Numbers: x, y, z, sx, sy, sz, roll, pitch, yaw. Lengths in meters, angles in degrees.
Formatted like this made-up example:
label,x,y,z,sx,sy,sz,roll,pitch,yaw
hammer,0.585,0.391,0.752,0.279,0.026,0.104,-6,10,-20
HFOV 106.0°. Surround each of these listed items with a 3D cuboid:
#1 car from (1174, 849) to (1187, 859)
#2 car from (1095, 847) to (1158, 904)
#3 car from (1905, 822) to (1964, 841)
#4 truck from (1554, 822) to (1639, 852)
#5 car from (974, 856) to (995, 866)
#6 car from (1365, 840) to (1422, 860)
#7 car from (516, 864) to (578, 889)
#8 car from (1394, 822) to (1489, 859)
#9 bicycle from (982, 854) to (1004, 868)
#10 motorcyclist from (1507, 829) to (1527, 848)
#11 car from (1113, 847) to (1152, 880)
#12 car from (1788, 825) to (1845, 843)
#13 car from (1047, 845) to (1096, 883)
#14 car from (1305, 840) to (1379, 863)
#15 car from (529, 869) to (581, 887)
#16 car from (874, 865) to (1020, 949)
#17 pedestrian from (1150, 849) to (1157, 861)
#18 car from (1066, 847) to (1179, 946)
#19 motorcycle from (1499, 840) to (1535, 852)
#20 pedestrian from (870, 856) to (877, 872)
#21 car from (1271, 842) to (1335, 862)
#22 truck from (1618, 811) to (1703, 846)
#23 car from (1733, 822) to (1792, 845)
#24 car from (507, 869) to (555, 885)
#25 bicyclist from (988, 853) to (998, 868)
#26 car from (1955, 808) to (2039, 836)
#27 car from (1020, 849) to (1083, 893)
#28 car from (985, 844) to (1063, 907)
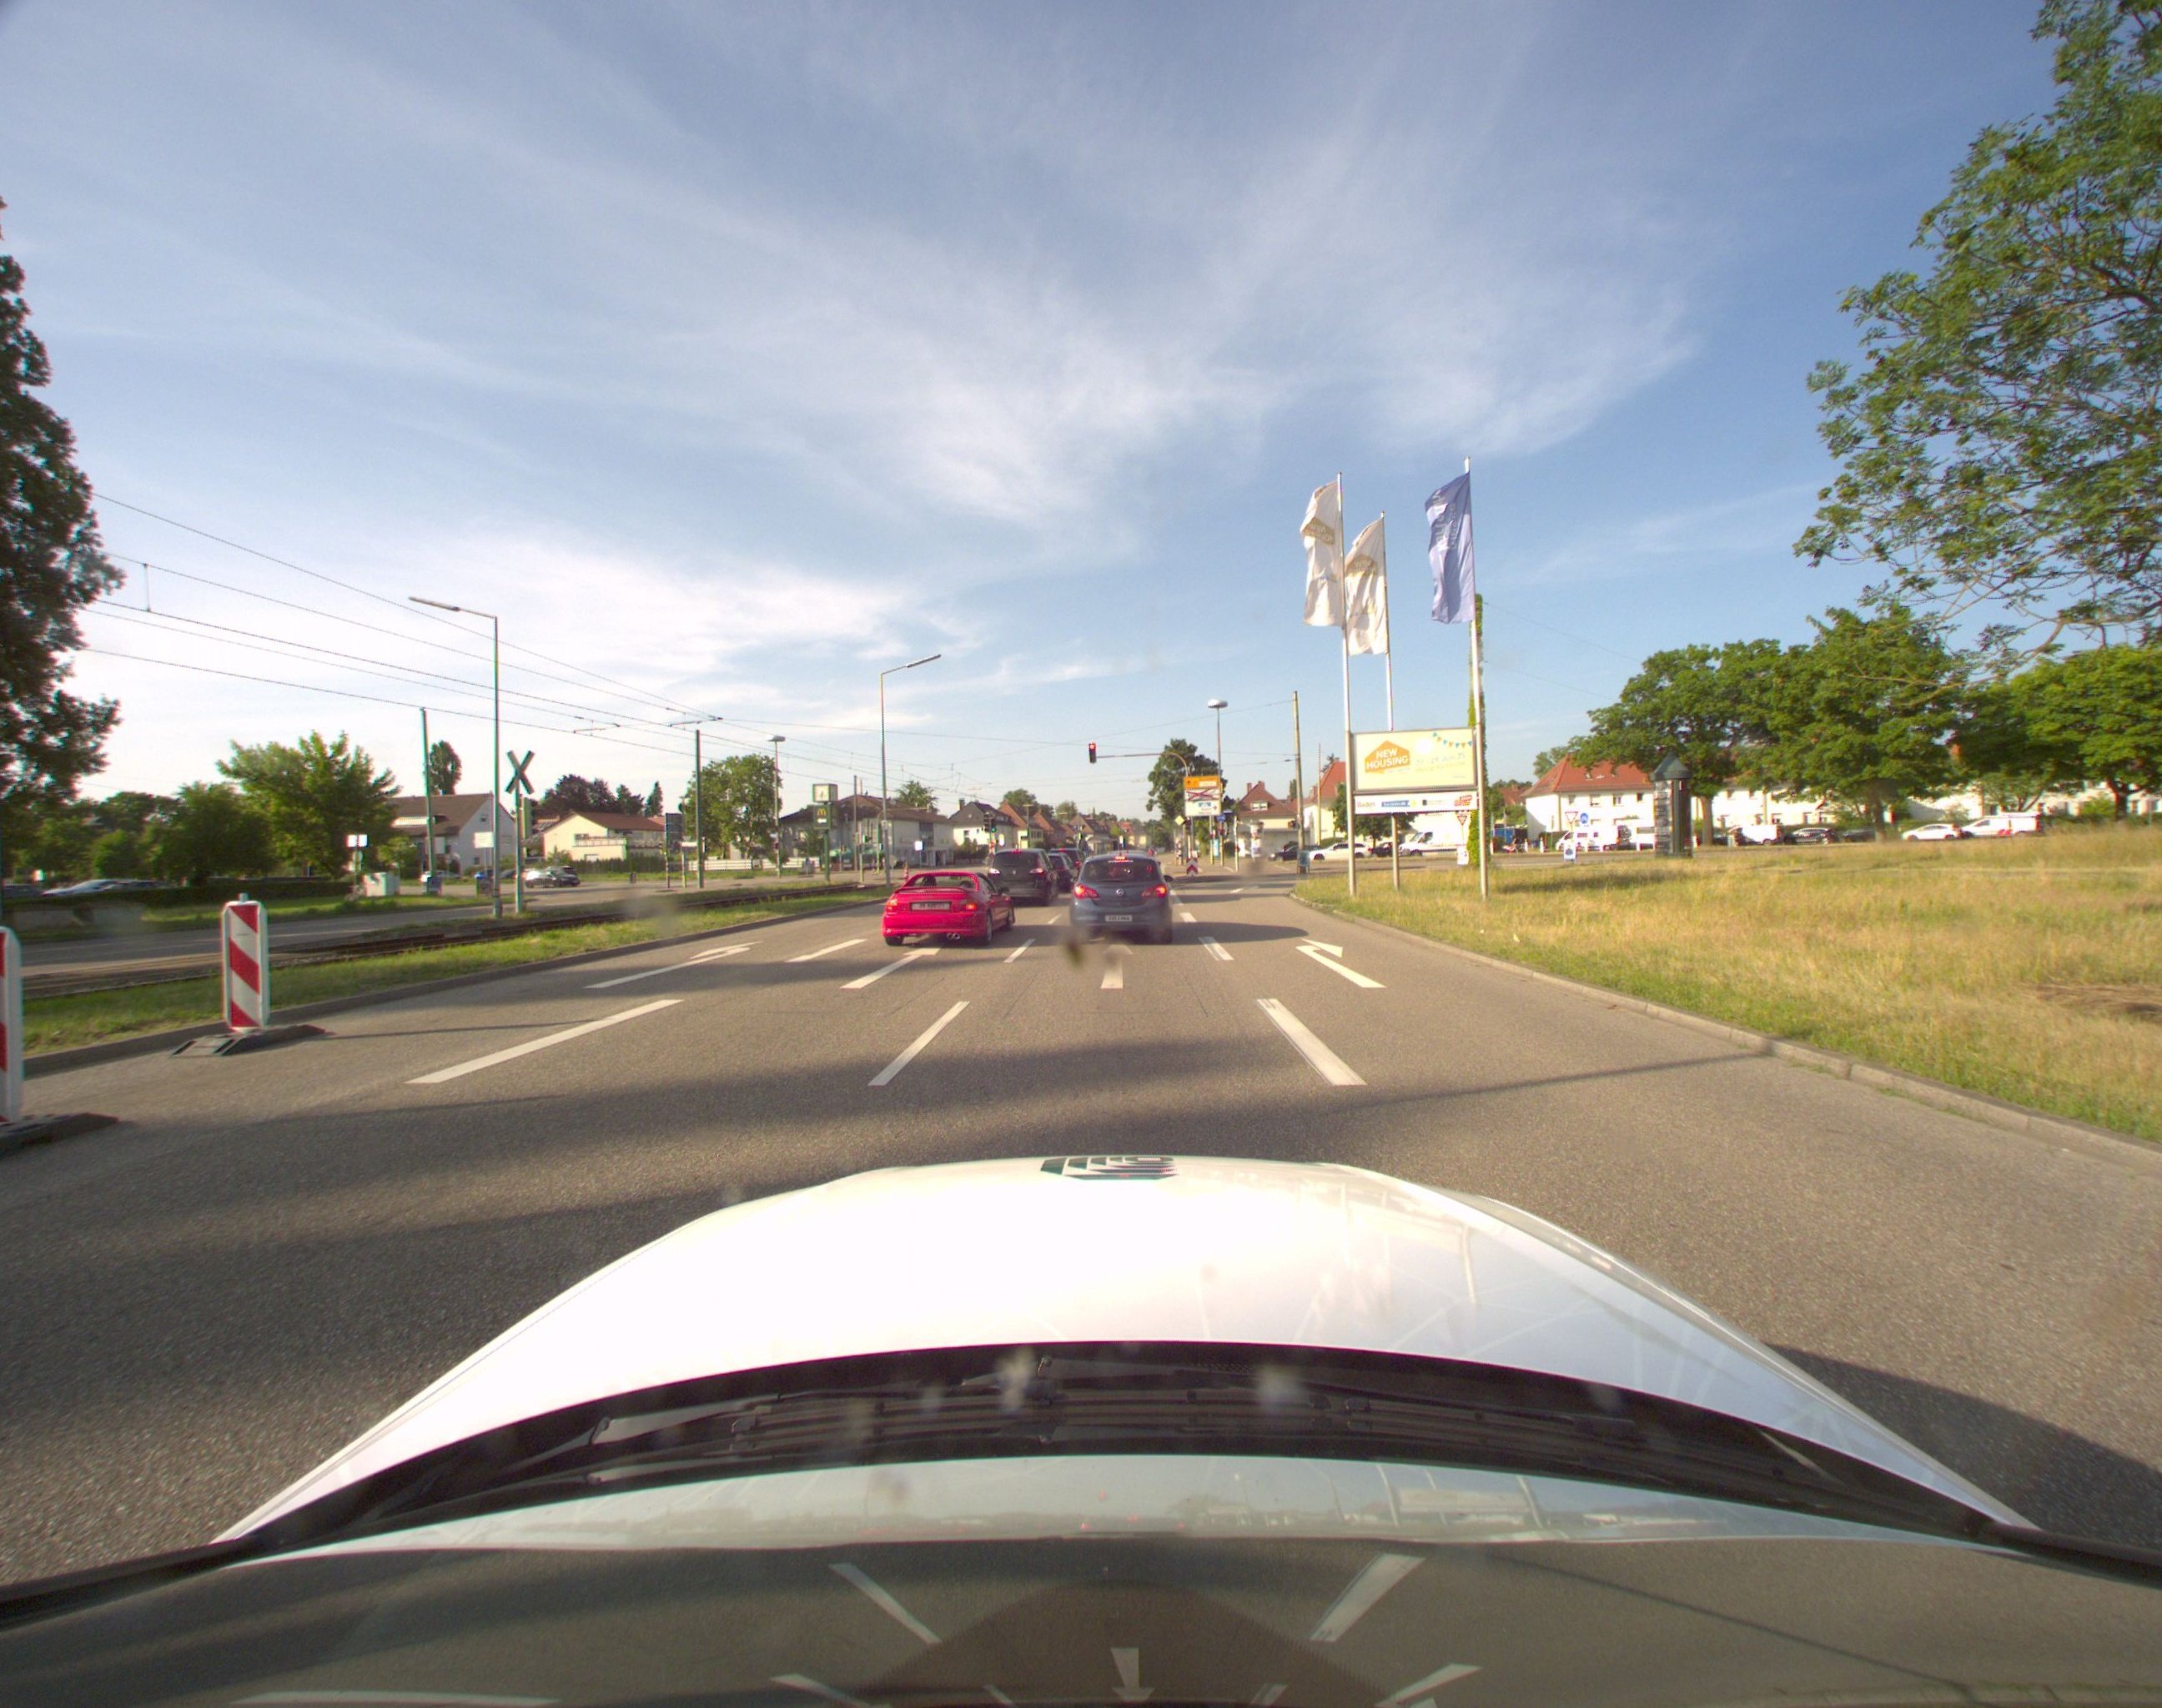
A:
label,x,y,z,sx,sy,sz,roll,pitch,yaw
car,13.568,-0.017,111.201,1.666,1.398,4.007,0,-1,7
car,1.387,0.589,24.840,1.699,1.551,3.981,-2,0,3
car,76.677,-2.045,73.171,1.904,1.514,3.395,-2,0,-36
truck,47.406,-1.531,75.025,2.284,2.524,6.298,-2,1,-29
car,-13.254,0.921,111.916,1.652,1.345,4.090,-2,-1,11
car,25.015,-0.337,65.228,3.966,1.453,1.719,-2,0,6
car,-41.935,1.731,64.028,3.965,1.793,1.523,-2,0,7
car,27.165,-0.989,61.534,6.176,2.583,2.003,-2,0,6
bicycle,-8.640,0.683,79.827,2.069,1.348,1.107,0,-1,-4
motorcyclist,32.238,-1.139,60.232,1.060,1.352,0.681,-2,0,5
car,2.414,0.410,38.042,1.649,1.443,4.018,-2,0,4
car,66.691,-1.815,73.892,1.904,1.514,3.461,-2,0,-36
car,-0.380,0.436,38.739,1.498,1.651,4.755,-2,0,9
car,19.883,-0.223,62.197,5.068,1.563,1.843,-2,0,6
car,-51.343,2.342,79.488,3.957,1.486,2.008,-2,0,15
car,-2.241,0.848,14.623,1.723,1.206,3.851,-1,0,4
pedestrian,9.208,0.107,103.226,0.748,1.499,0.830,0,-1,13
car,0.711,0.658,14.986,1.735,1.505,4.224,-2,0,1
motorcycle,32.260,-0.591,60.235,2.260,0.866,0.692,-2,0,5
pedestrian,-20.654,1.019,81.194,0.509,1.599,0.540,-2,0,3
car,17.939,-0.137,65.997,4.798,1.411,1.719,-2,0,6
truck,53.448,-2.314,75.228,1.906,2.854,6.007,-2,0,-40
car,62.860,-1.868,75.123,1.906,1.920,3.863,-2,0,-40
car,-61.801,2.562,91.526,1.980,1.684,4.234,0,-1,12
bicyclist,-8.644,0.615,79.802,0.882,1.431,1.135,0,-1,-3
car,82.412,-2.818,73.303,2.010,2.232,4.921,-2,0,-40
car,-1.037,0.602,31.298,1.691,1.508,4.562,-1,0,7
car,-1.591,0.575,24.021,1.756,1.670,4.087,-1,0,3
